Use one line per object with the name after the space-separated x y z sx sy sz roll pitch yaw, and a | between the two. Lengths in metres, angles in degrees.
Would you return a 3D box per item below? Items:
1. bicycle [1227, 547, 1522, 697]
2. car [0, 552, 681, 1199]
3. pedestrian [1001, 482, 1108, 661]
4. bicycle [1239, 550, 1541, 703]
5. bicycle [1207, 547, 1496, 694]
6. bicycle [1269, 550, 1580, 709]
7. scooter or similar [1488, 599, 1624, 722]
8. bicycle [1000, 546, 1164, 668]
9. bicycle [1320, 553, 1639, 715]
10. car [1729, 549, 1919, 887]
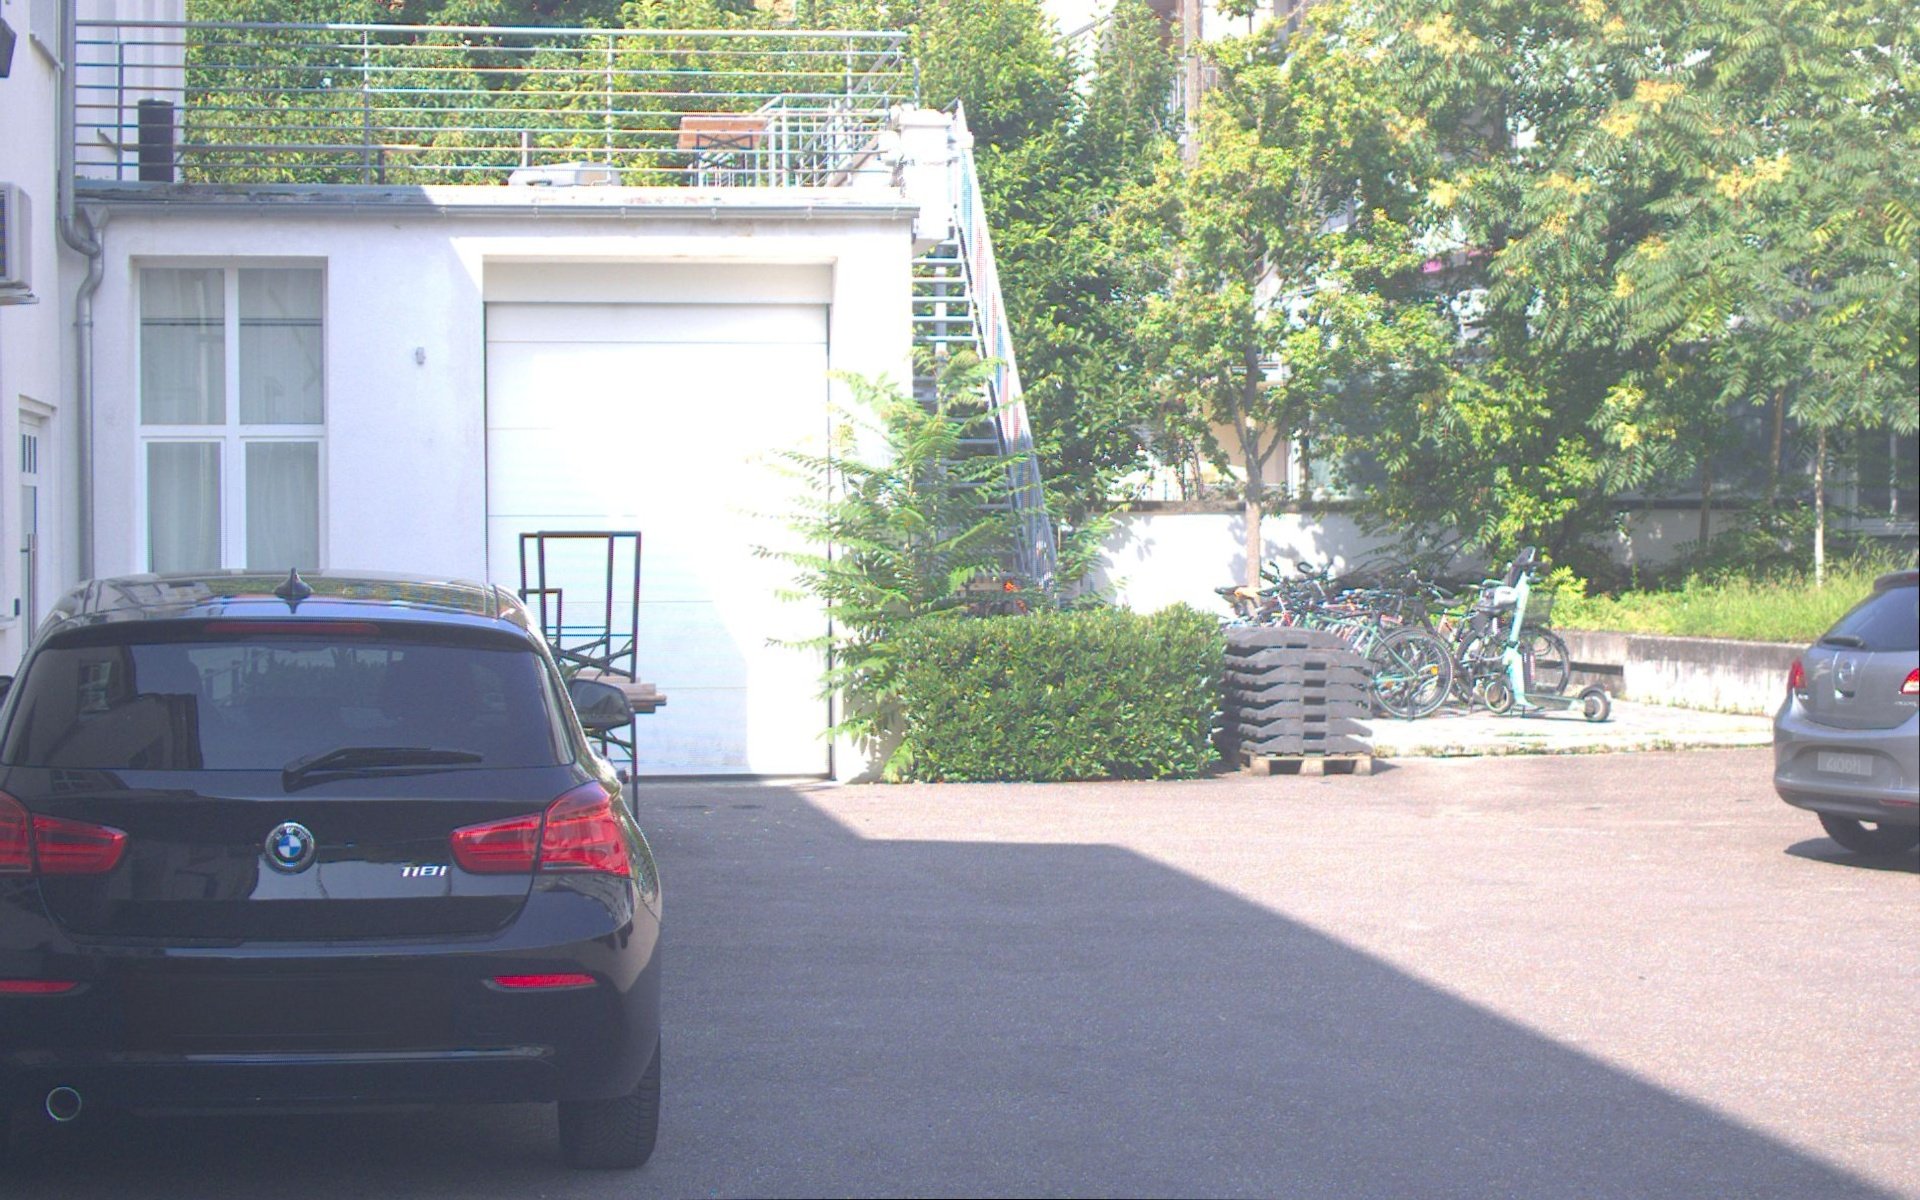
3.500 0.188 29.053 2.410 1.242 0.526 0 1 -8 | bicycle
-1.887 0.608 9.369 1.792 1.423 4.137 0 1 -11 | car
0.948 -0.293 34.449 0.860 1.765 0.610 1 1 40 | pedestrian
3.547 0.216 28.382 2.410 1.242 0.526 0 1 -8 | bicycle
3.376 0.177 29.700 2.410 1.242 0.526 0 1 -8 | bicycle
3.727 0.235 27.600 2.410 1.242 0.526 0 1 -8 | bicycle
4.627 0.462 26.721 0.999 0.921 0.359 2 2 44 | scooter or similar
1.237 0.054 34.349 0.489 1.140 1.989 1 3 40 | bicycle
4.075 0.264 26.982 2.410 1.242 0.526 0 1 -8 | bicycle
5.810 0.482 16.450 3.895 1.461 1.663 -1 2 -21 | car
